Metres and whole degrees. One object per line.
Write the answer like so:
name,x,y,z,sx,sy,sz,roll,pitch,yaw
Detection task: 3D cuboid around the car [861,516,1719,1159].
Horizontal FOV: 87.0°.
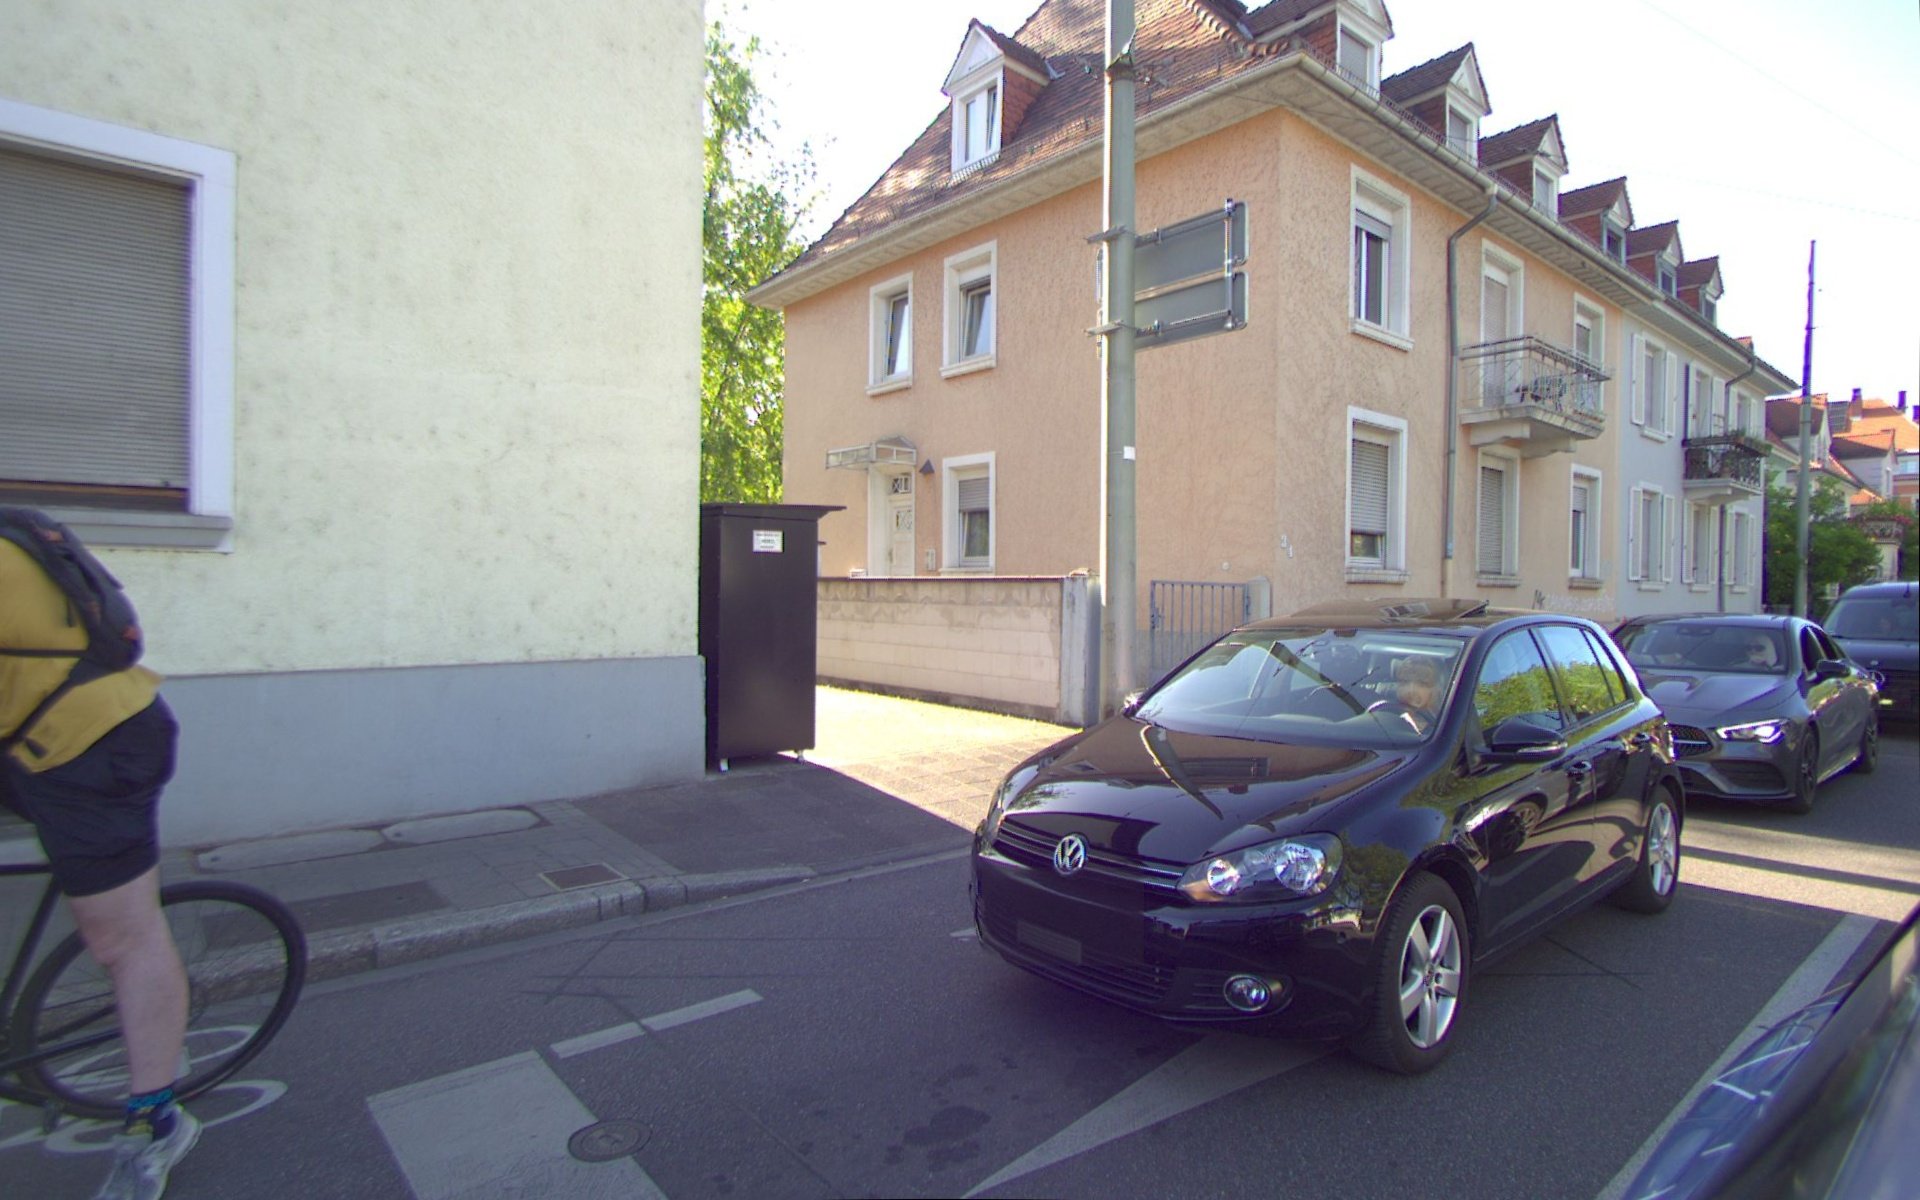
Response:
car,1.710,0.607,4.384,3.979,1.527,1.731,2,-1,-41

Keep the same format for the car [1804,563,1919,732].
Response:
car,12.101,0.486,12.484,4.695,1.827,1.864,-1,0,-41

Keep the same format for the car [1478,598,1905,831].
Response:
car,6.346,0.720,8.581,4.413,1.437,1.911,-1,1,-40

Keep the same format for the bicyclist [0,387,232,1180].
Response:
bicyclist,-2.322,0.387,2.439,0.868,1.684,0.807,0,0,-40

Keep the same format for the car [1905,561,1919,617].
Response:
car,27.188,-0.297,27.481,3.930,1.476,1.839,-1,0,-41

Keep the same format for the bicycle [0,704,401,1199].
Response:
bicycle,-2.379,0.865,2.393,1.749,1.044,0.756,-1,0,-40
